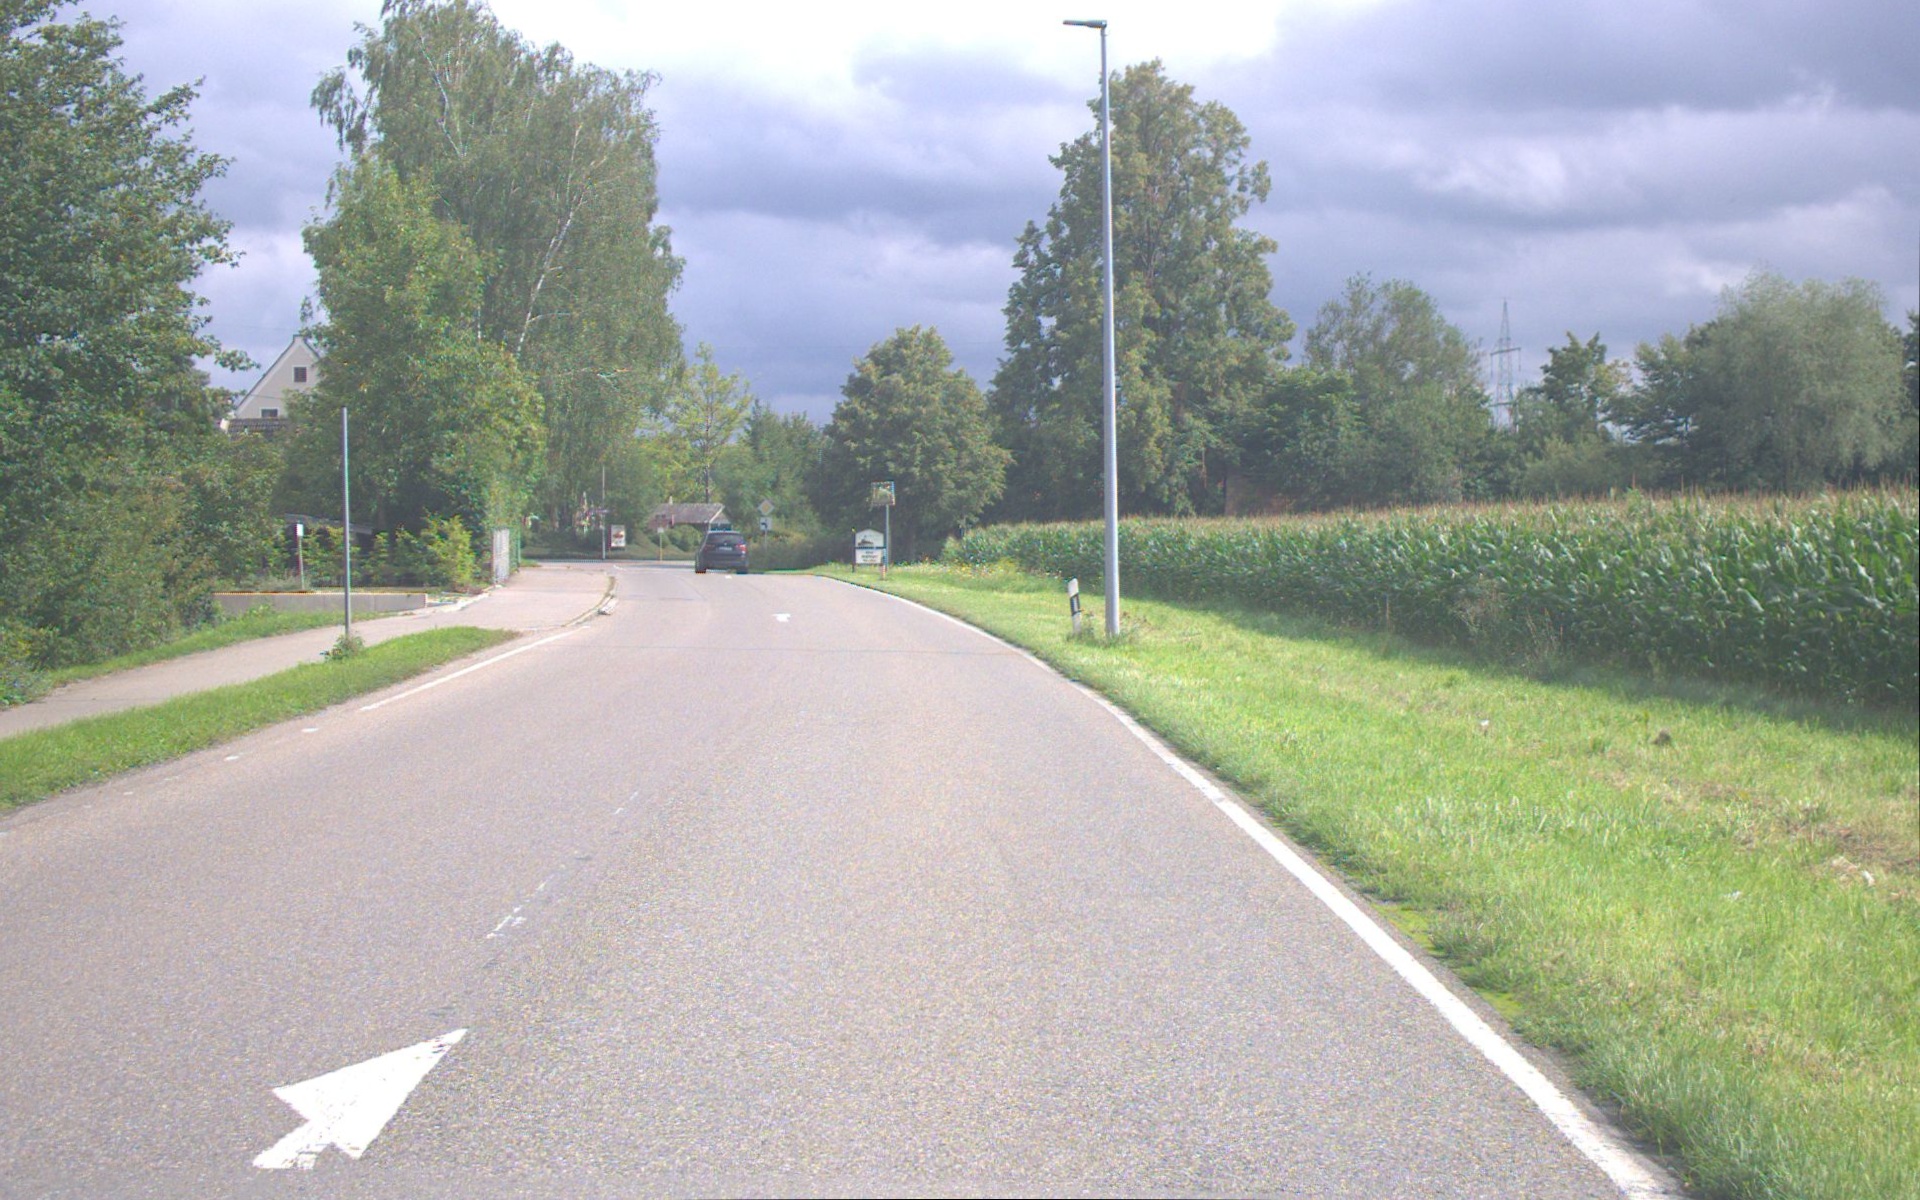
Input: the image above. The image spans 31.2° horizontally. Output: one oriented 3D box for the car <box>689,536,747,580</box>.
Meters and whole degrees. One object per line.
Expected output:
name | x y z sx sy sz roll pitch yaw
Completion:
car | -9.215 -1.606 130.878 1.993 1.579 4.001 2 1 -6
